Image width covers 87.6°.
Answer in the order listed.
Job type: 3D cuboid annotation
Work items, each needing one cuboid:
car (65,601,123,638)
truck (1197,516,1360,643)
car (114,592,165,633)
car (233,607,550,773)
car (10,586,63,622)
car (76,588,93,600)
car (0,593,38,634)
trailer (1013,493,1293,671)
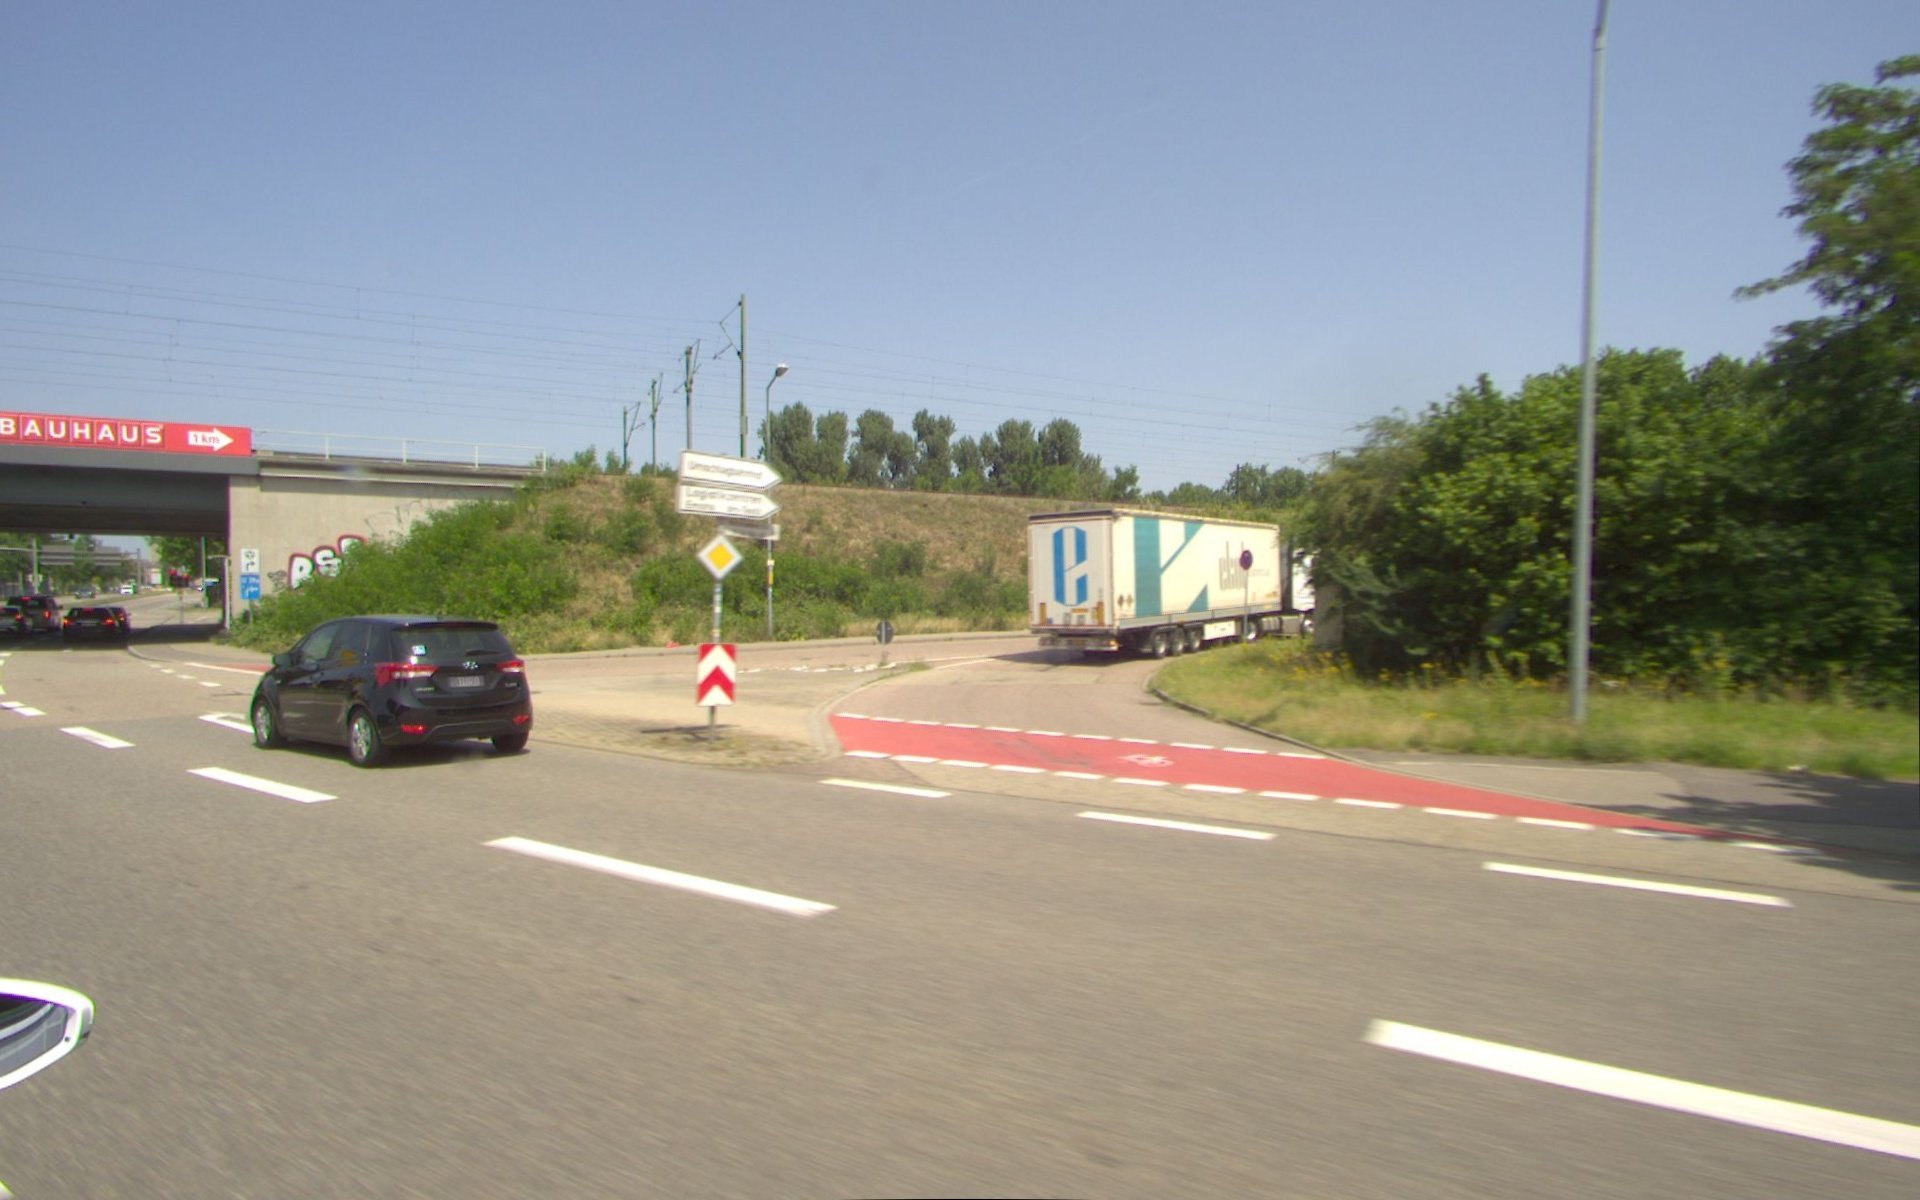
[{"bbox_3d":[-38.630,0.851,44.735,1.825,1.589,3.968,0,0,-39],"label":"car"},{"bbox_3d":[12.131,-0.785,37.996,6.007,4.429,3.060,-1,3,-39],"label":"truck"},{"bbox_3d":[-44.625,0.667,54.469,1.977,2.041,3.967,-3,2,-39],"label":"car"},{"bbox_3d":[-6.800,0.914,11.851,4.023,1.620,1.762,0,0,36],"label":"car"},{"bbox_3d":[-49.914,0.232,54.173,1.825,1.915,3.968,0,0,-39],"label":"car"},{"bbox_3d":[-132.712,-0.909,151.842,1.839,1.644,3.967,0,-1,-40],"label":"car"},{"bbox_3d":[-45.662,0.648,48.021,1.825,1.915,3.968,0,0,-39],"label":"car"},{"bbox_3d":[6.832,-0.616,31.804,3.046,4.428,14.678,1,2,35],"label":"trailer"}]
